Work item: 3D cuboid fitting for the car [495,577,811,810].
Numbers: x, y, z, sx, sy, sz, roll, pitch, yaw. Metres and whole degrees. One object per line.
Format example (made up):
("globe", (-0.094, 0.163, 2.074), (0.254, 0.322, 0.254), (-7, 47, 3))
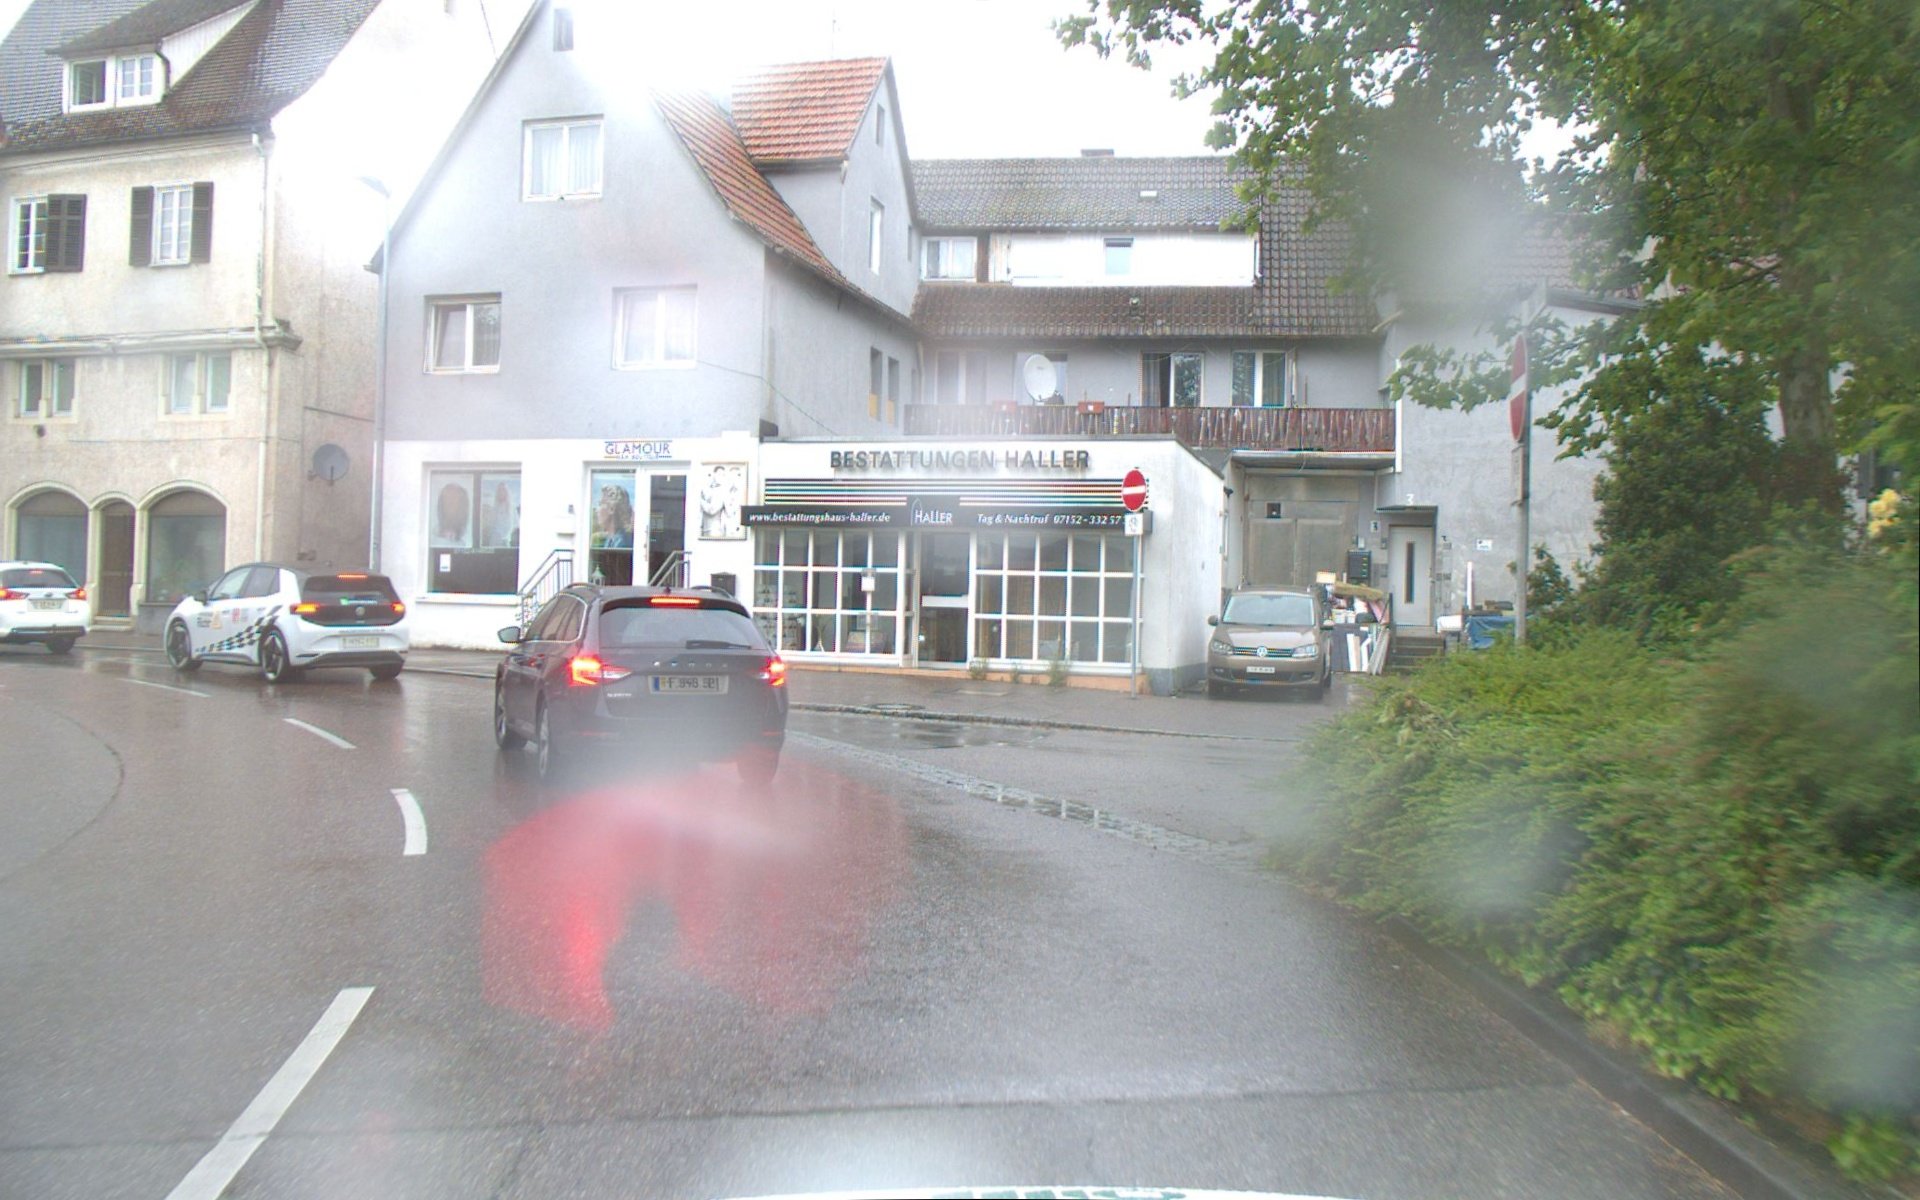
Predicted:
("car", (-2.636, 0.613, 13.357), (1.708, 1.475, 4.214), (1, 2, -22))

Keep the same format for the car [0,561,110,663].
("car", (-16.005, 0.127, 27.079), (4.073, 1.491, 1.788), (3, 2, 29))

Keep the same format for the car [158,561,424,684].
("car", (-9.309, 0.240, 22.853), (4.165, 1.543, 1.784), (1, 1, 42))

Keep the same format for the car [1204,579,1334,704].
("car", (5.102, 0.581, 26.973), (1.882, 1.758, 4.673), (1, 2, 12))
